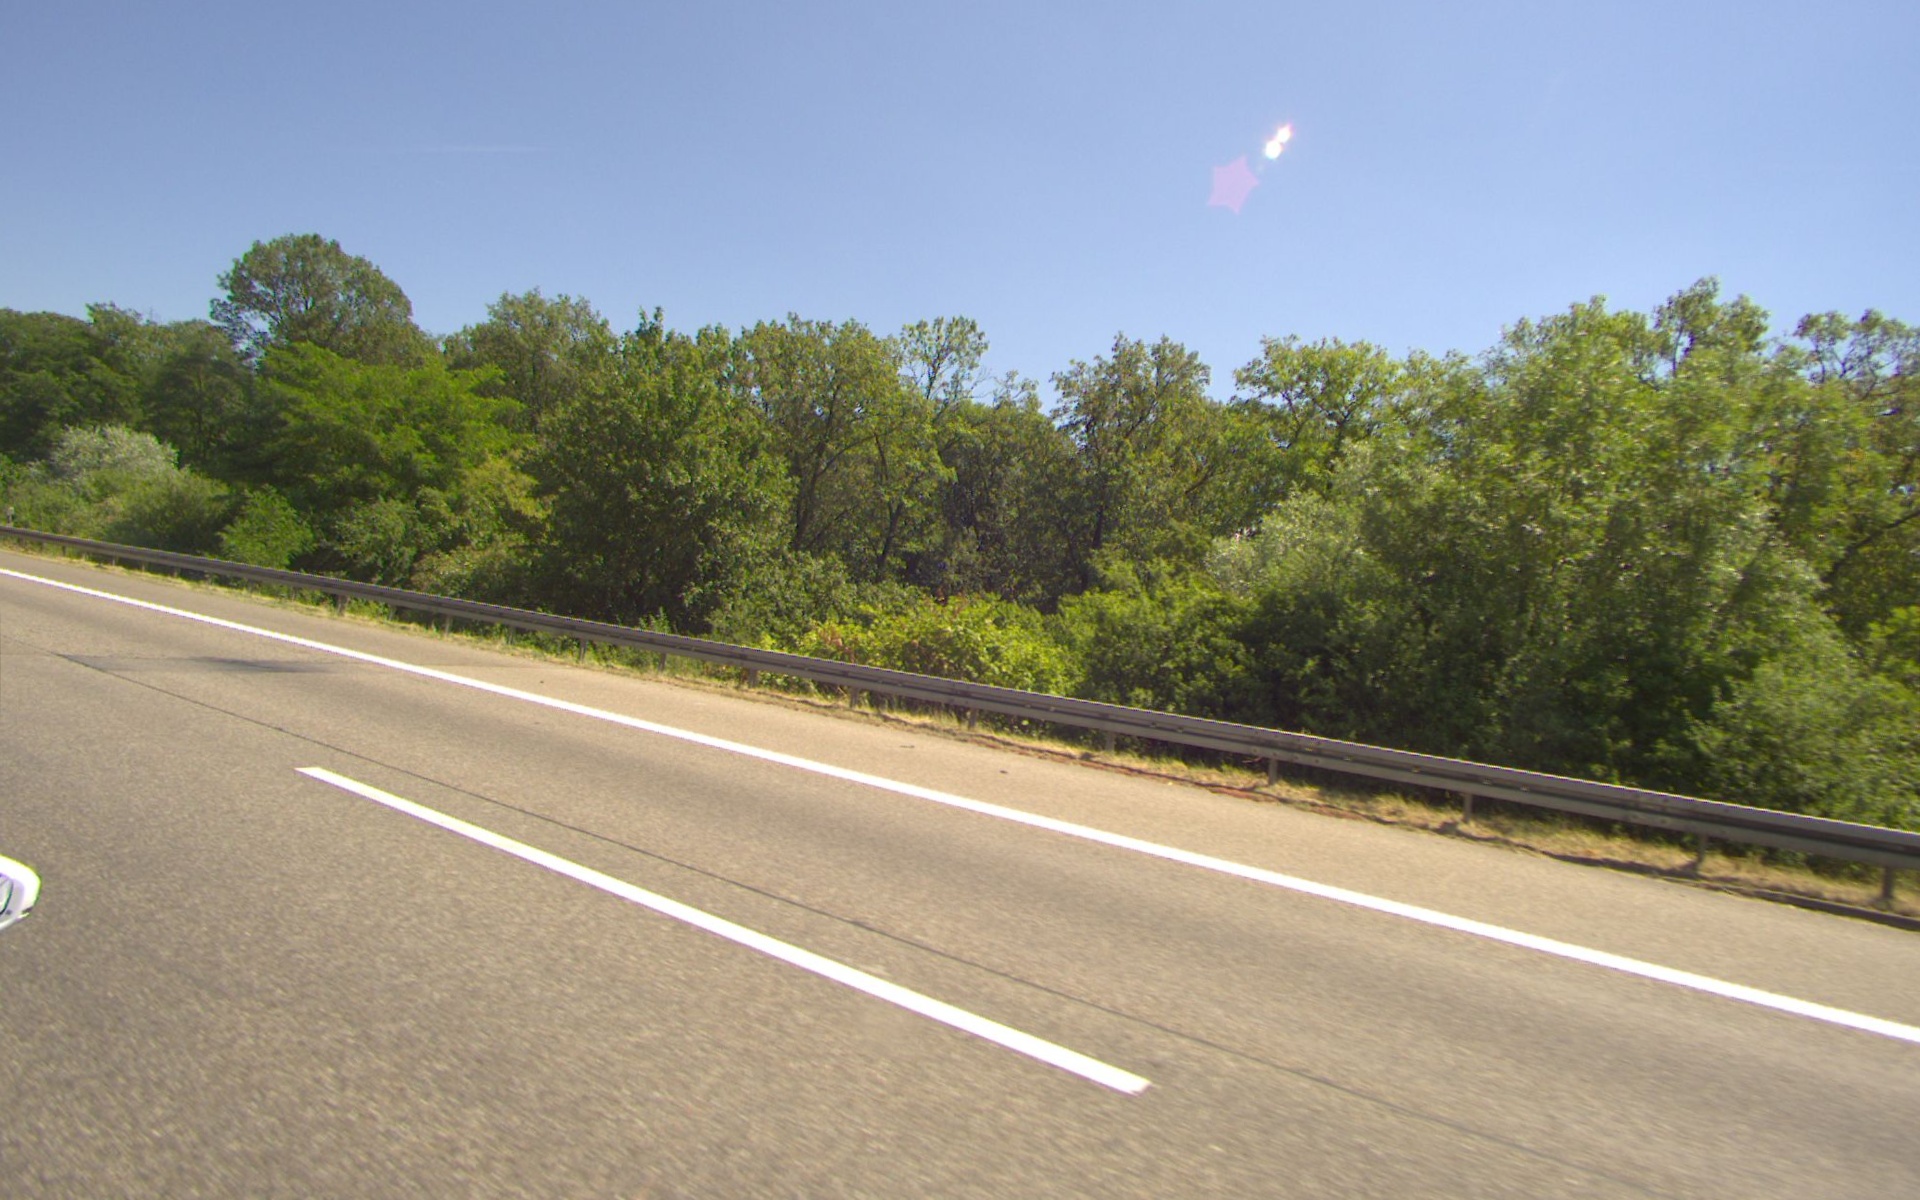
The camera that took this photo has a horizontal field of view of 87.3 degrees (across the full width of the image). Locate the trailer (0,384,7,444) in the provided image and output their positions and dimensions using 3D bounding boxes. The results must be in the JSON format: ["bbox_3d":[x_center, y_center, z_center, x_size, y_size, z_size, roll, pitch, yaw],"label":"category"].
[{"bbox_3d":[-26.445,-3.364,23.839,8.944,4.192,3.371,7,-1,33],"label":"trailer"}]
